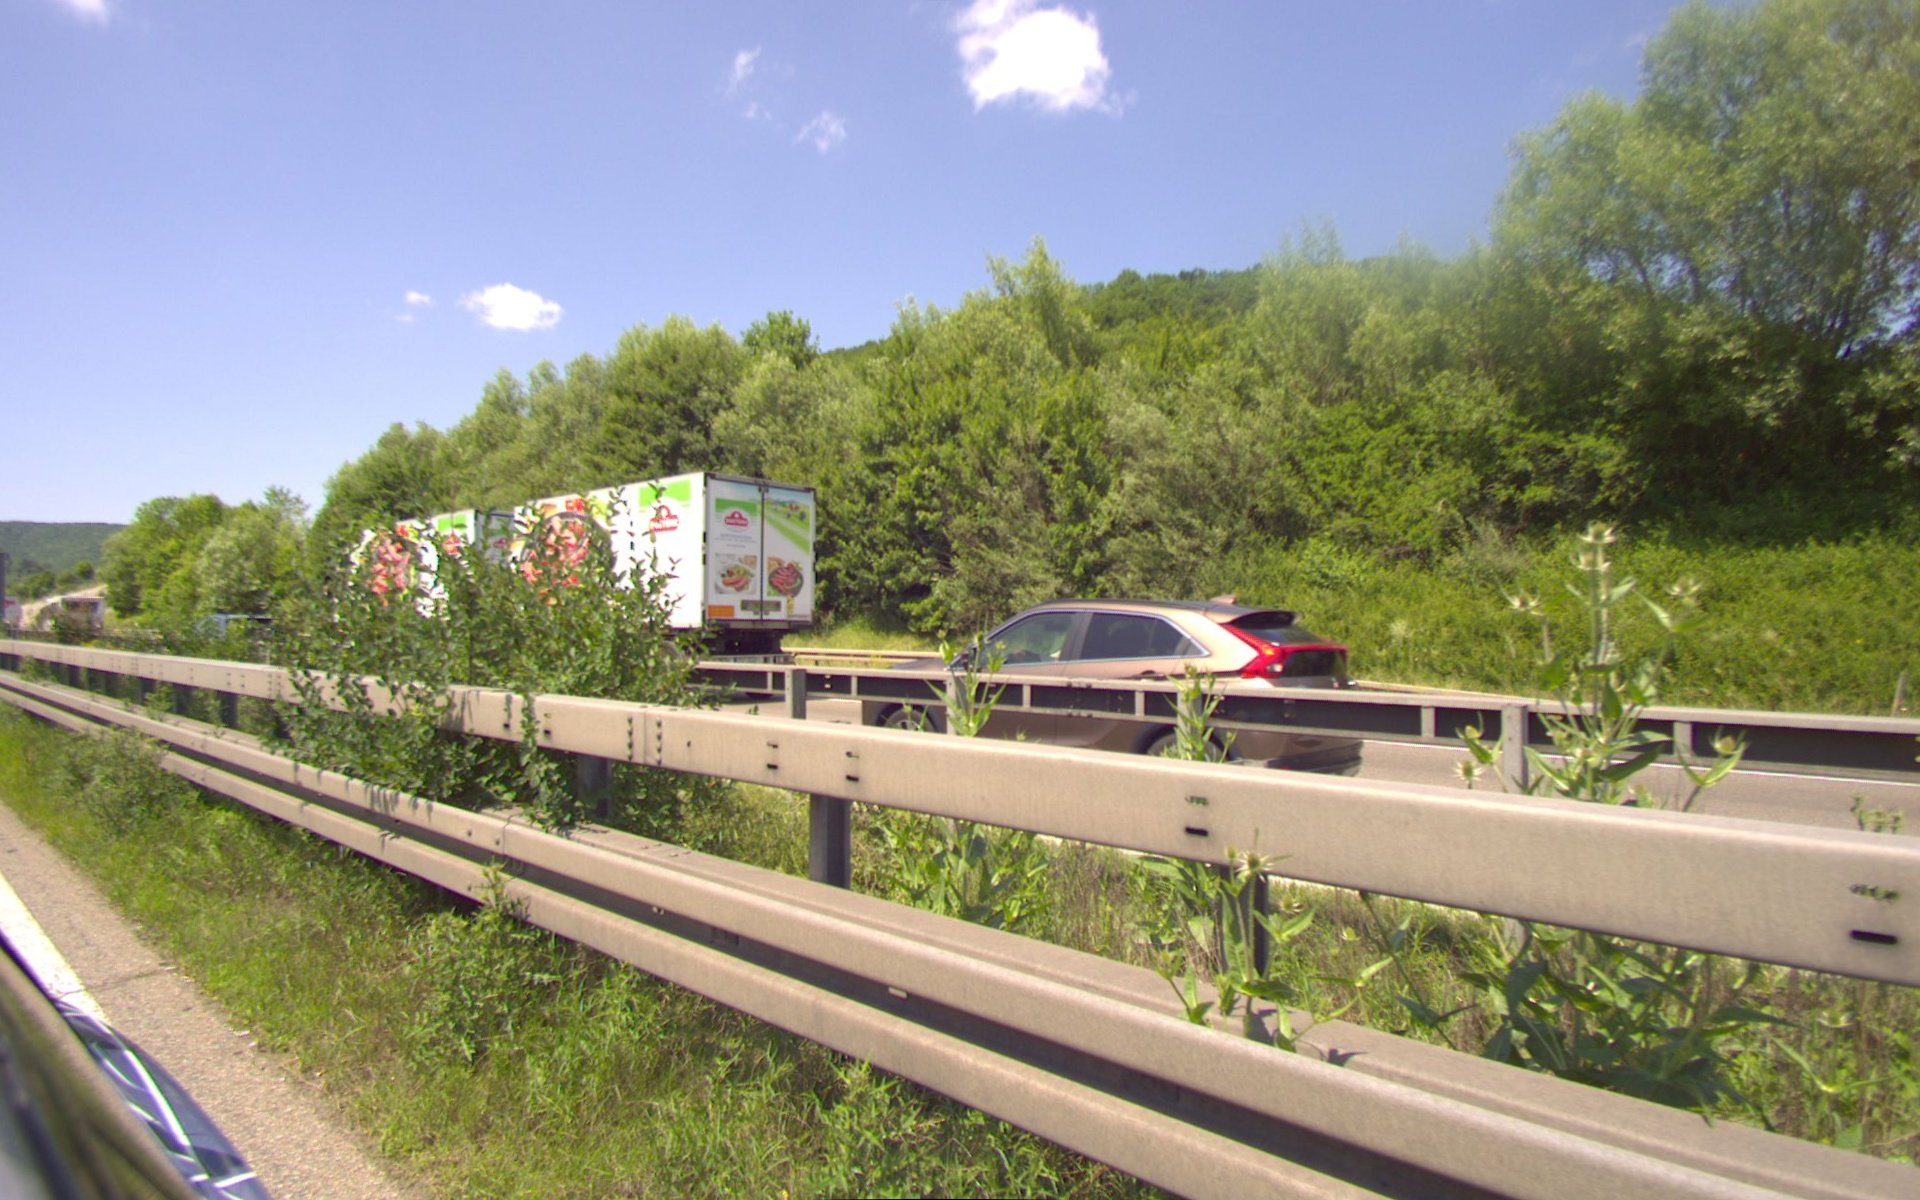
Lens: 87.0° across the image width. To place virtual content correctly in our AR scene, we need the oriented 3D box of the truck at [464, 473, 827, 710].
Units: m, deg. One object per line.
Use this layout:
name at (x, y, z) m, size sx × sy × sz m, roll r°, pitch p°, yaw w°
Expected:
truck at (-6.895, -0.033, 21.151) m, size 9.026 × 4.011 × 2.839 m, roll -1°, pitch -3°, yaw 41°

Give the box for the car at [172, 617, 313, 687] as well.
car at (-19.157, 1.323, 26.931) m, size 5.029 × 1.653 × 1.973 m, roll -1°, pitch -1°, yaw 41°

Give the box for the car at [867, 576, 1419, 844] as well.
car at (1.288, 0.704, 8.072) m, size 3.997 × 1.611 × 1.759 m, roll -1°, pitch -2°, yaw 40°

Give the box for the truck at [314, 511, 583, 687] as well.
truck at (-14.211, 0.058, 27.526) m, size 10.164 × 4.036 × 2.840 m, roll -1°, pitch -1°, yaw 41°

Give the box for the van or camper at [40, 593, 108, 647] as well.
van or camper at (-58.479, 1.352, 66.720) m, size 7.647 × 3.361 × 2.562 m, roll -1°, pitch -2°, yaw 43°

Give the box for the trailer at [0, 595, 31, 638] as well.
trailer at (-94.432, 1.626, 99.761) m, size 14.153 × 4.030 × 2.753 m, roll -1°, pitch -1°, yaw 41°
